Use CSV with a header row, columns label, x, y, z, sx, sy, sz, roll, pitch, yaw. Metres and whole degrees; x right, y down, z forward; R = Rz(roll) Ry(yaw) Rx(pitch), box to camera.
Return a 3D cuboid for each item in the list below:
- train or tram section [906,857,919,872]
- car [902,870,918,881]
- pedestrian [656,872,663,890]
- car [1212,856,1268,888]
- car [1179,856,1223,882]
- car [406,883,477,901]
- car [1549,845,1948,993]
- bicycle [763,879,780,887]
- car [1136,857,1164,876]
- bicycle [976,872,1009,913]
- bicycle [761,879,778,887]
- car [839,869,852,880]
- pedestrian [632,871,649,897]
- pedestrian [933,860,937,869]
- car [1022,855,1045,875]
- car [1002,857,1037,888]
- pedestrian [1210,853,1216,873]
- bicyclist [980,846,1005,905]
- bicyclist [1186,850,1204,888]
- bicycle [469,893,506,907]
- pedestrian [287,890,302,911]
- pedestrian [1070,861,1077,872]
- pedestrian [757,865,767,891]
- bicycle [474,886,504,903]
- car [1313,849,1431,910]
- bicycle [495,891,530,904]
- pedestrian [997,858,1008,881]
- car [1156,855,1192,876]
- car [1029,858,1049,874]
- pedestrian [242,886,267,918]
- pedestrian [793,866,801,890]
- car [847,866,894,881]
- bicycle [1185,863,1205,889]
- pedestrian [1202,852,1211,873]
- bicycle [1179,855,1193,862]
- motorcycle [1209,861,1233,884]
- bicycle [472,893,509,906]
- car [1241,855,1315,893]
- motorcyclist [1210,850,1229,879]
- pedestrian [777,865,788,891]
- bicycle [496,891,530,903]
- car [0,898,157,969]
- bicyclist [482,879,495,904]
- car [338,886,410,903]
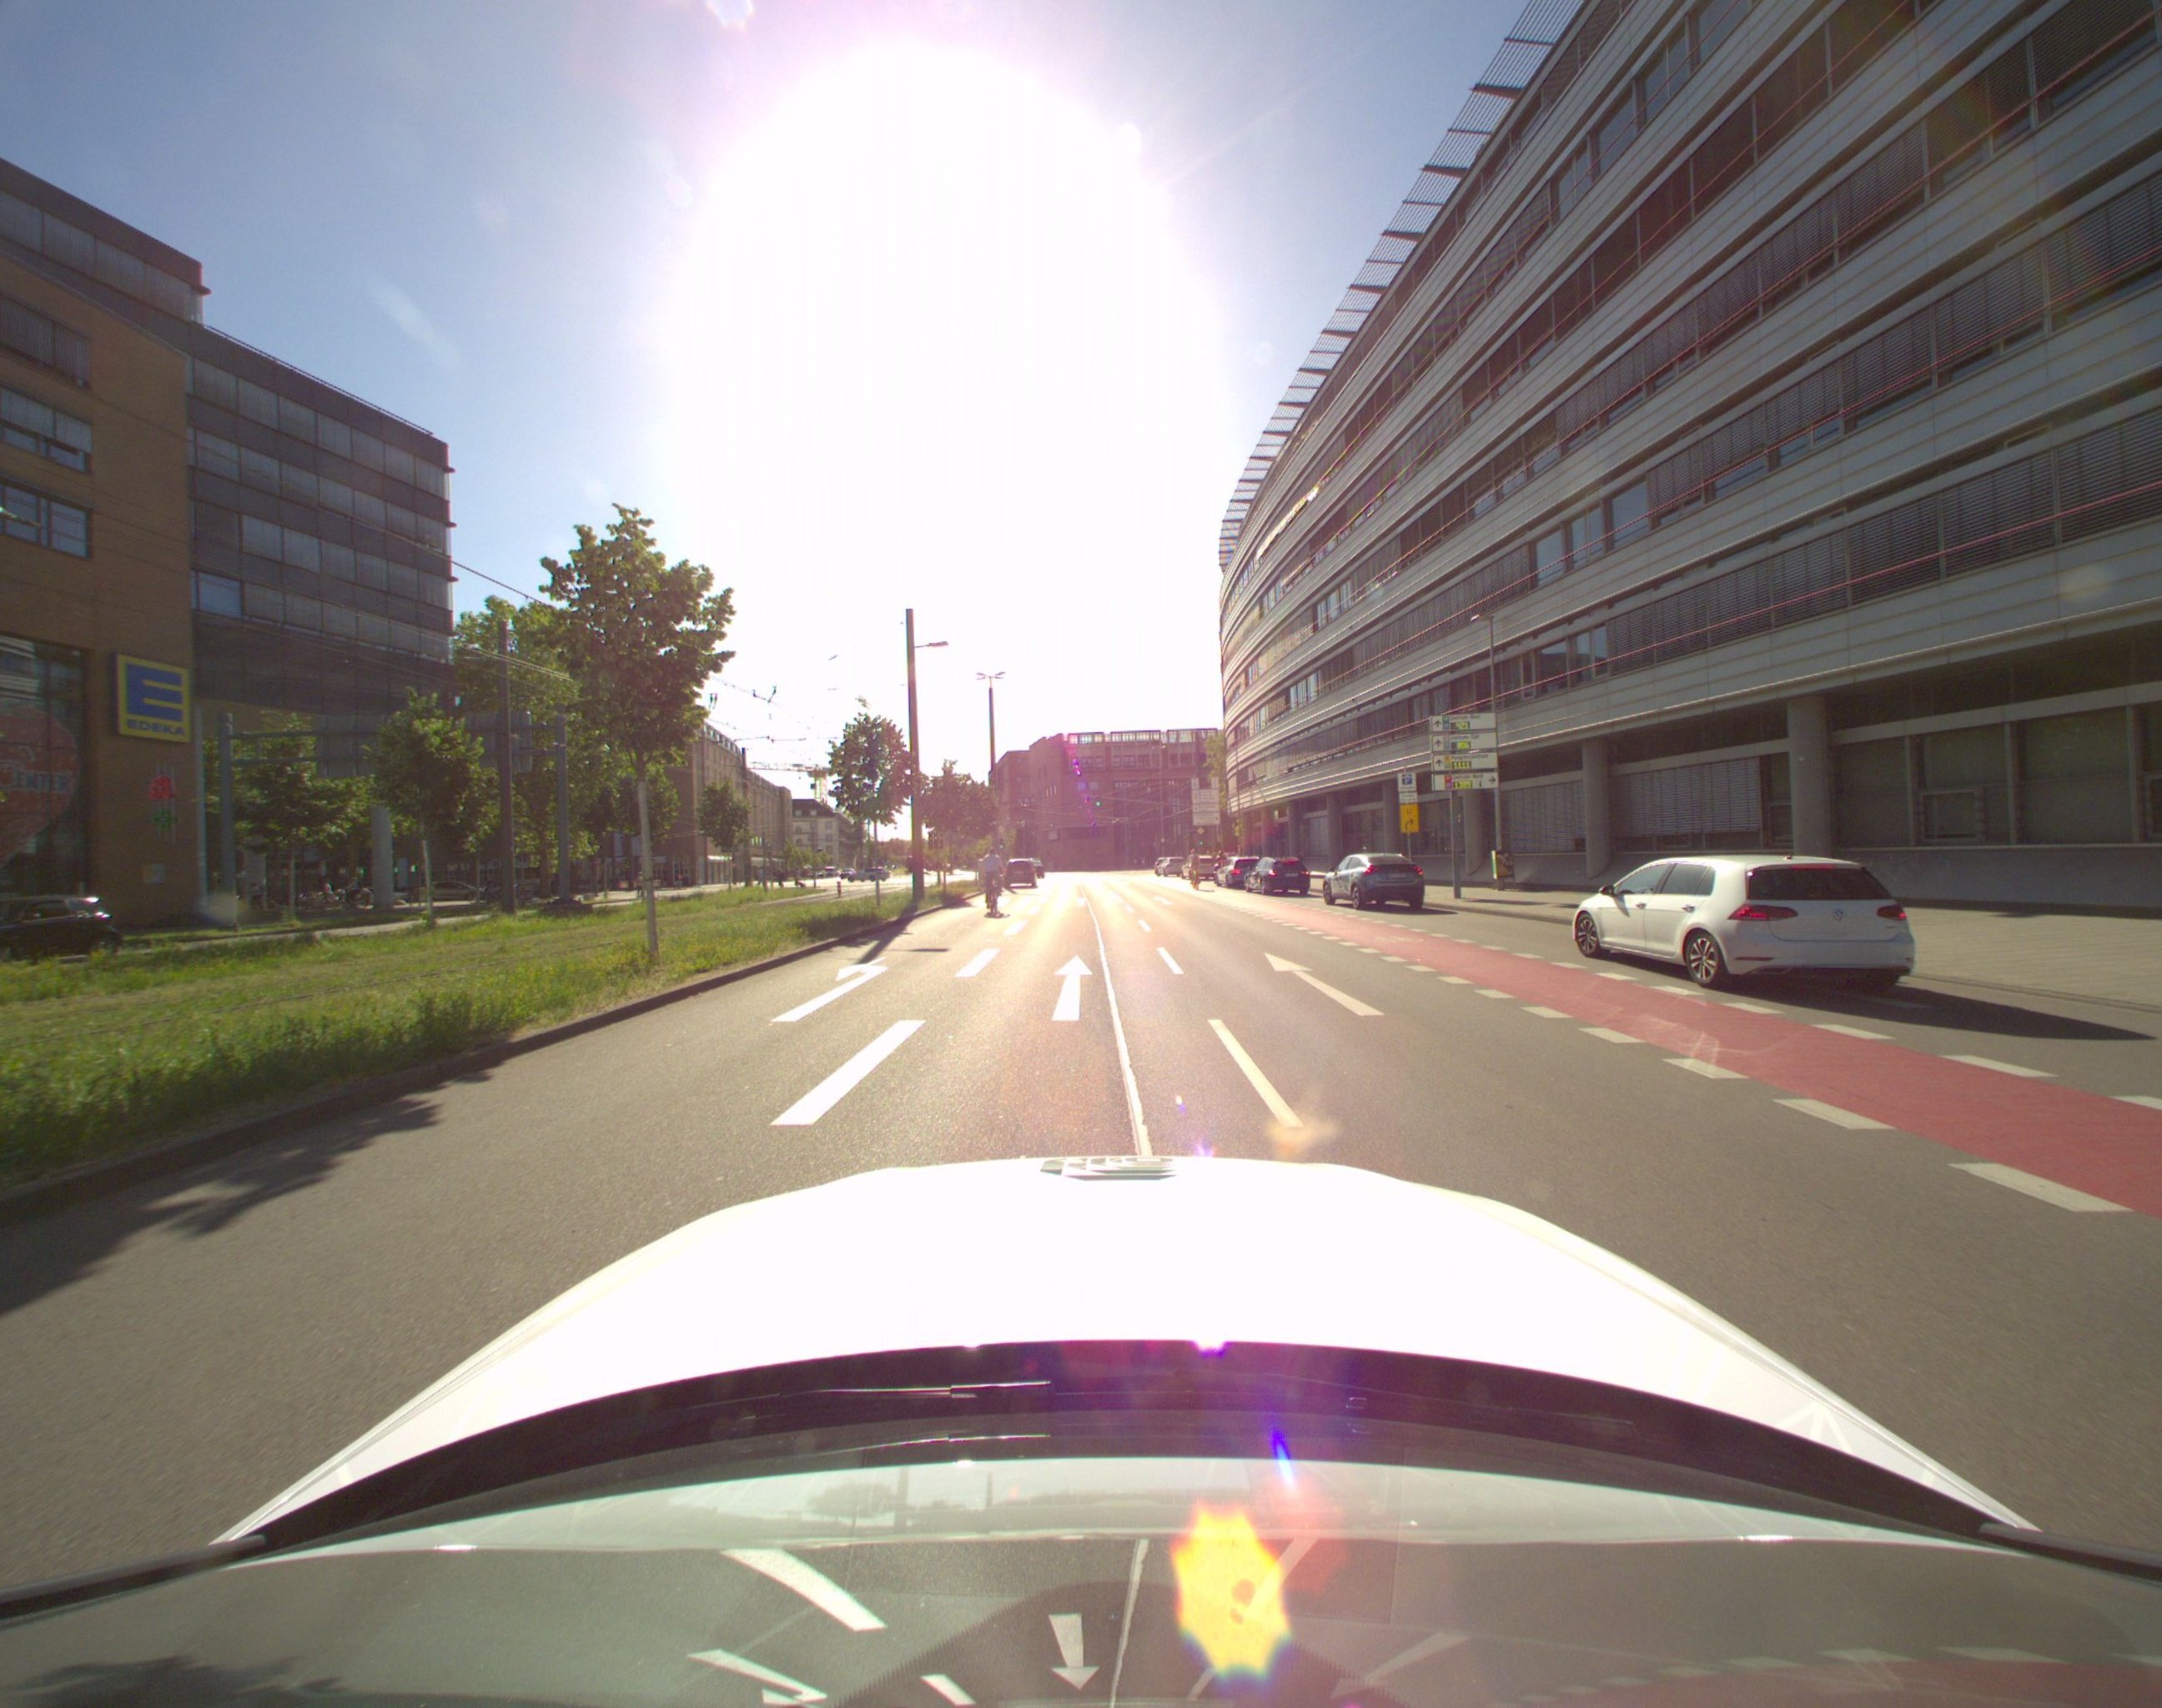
label,x,y,z,sx,sy,sz,roll,pitch,yaw
train or tram section,-35.635,2.187,172.958,2.327,3.003,13.111,-2,0,-10
car,-27.545,3.436,131.133,2.267,1.727,3.922,-2,0,-17
pedestrian,-46.011,2.894,88.926,0.523,1.932,0.748,-2,-1,-14
car,7.607,0.846,39.369,1.716,1.396,4.786,-2,0,0
car,7.644,0.918,52.156,1.903,1.583,4.131,0,0,-5
car,-50.446,2.990,64.305,3.977,1.231,1.998,-2,0,-3
car,7.618,0.631,9.965,1.763,1.403,4.302,0,0,7
bicycle,-50.759,4.768,133.633,2.479,1.310,0.732,-2,-1,-4
car,6.172,1.108,73.254,1.902,1.583,4.133,0,0,-3
bicycle,-2.539,1.080,23.607,0.684,1.069,2.696,0,0,0
bicycle,-51.515,4.806,134.729,2.479,1.310,0.732,-2,-1,-4
car,-34.987,3.009,121.007,1.612,1.398,3.901,-6,1,-13
pedestrian,-31.276,2.141,57.802,0.757,1.831,0.625,-2,-1,4
pedestrian,-25.523,1.852,142.695,0.539,1.655,0.703,-2,-1,-16
car,-3.856,0.869,65.930,1.723,1.449,4.515,-2,0,-4
car,-3.302,0.971,44.395,1.722,1.564,3.674,-2,0,-2
pedestrian,11.336,0.786,70.017,0.424,1.645,0.564,-3,0,12
bicyclist,-2.535,0.614,23.459,0.616,1.669,1.019,0,-1,-1
bicyclist,5.332,0.689,38.027,0.647,1.752,1.045,-2,0,0
bicycle,-39.319,3.037,53.964,2.025,0.799,0.374,-2,-1,-11
pedestrian,-49.884,2.947,51.677,0.428,1.293,0.545,-2,-1,-10
pedestrian,-1.056,1.767,116.108,0.619,1.563,0.981,-2,-1,-16
pedestrian,-22.828,1.735,58.233,0.464,1.831,0.453,-2,-1,-39
bicycle,-32.927,2.233,45.329,0.352,0.926,1.893,-2,-2,-2
car,8.164,0.668,23.268,1.716,1.524,4.397,-2,0,-1
bicycle,-40.186,3.046,57.553,2.025,0.799,0.374,-2,-1,-11
pedestrian,-6.036,1.190,62.791,0.670,1.753,0.765,-2,-1,-14
car,7.024,0.866,61.893,1.904,1.541,4.129,0,0,-6
car,-4.834,1.349,93.081,1.782,1.703,4.125,0,0,-9
pedestrian,-43.102,2.481,42.494,0.505,1.624,0.787,-2,-2,-1
pedestrian,-21.609,1.815,62.012,0.388,1.831,0.459,-2,-1,-33
car,-21.936,2.069,84.828,4.356,1.381,2.079,-3,-1,28
bicycle,5.344,1.028,38.319,0.647,1.110,1.758,-2,0,0
pedestrian,10.783,0.718,70.139,0.633,1.798,0.610,-3,0,12
bicycle,13.236,0.598,102.618,1.670,0.806,0.670,-2,-1,-13
motorcycle,7.617,0.987,44.313,0.826,1.201,2.388,-1,-1,-2
bicycle,-39.888,3.089,55.025,2.025,0.799,0.374,-2,-1,-11
car,7.789,0.761,32.647,1.717,1.422,4.633,-1,0,-2
motorcyclist,7.560,0.589,44.448,0.826,1.561,0.941,-1,-1,-2
pedestrian,-21.818,1.750,59.581,0.585,1.831,0.492,-2,-1,-39
bicycle,-41.001,3.102,58.827,2.025,0.799,0.374,-2,-1,-11
car,-23.559,1.776,18.441,1.423,1.359,3.296,-2,0,1
bicyclist,-32.927,2.084,45.278,0.339,1.377,0.481,-2,-2,-2
car,-55.462,3.158,63.925,3.977,1.143,1.780,-2,0,-3
